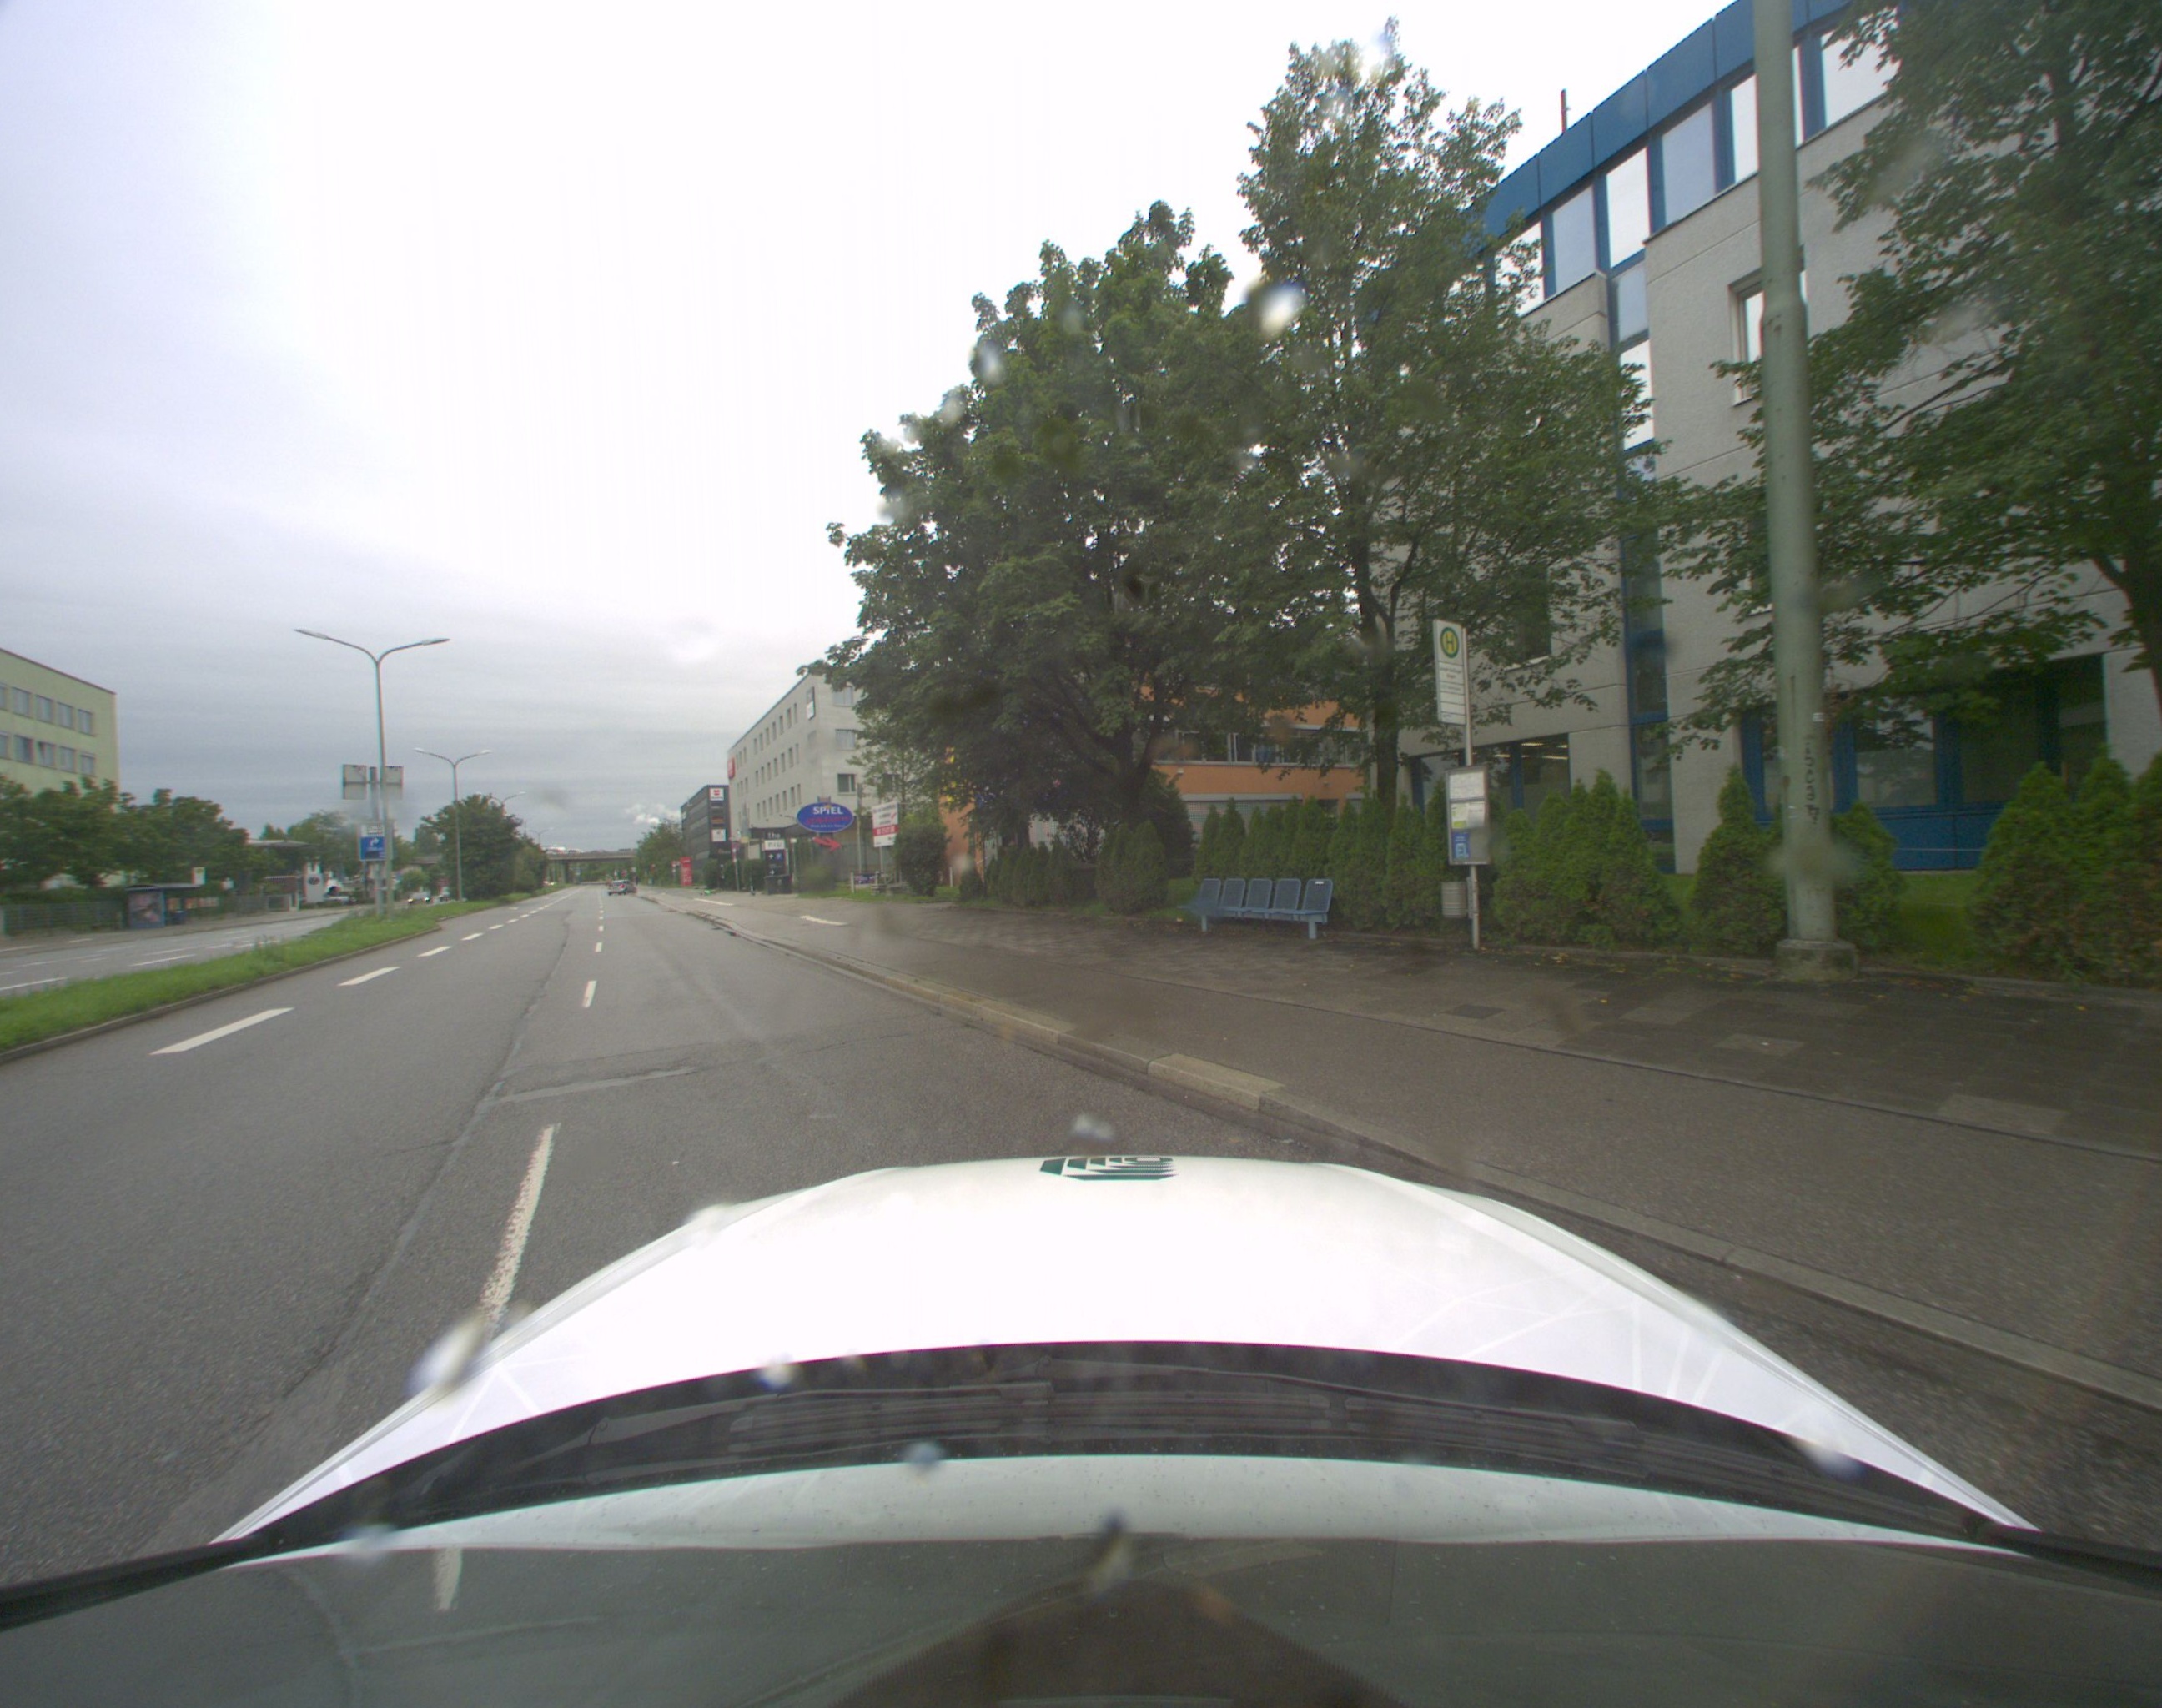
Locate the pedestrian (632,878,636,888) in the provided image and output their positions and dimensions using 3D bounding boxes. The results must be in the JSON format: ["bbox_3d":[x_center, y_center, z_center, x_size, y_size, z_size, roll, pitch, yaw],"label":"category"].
[{"bbox_3d":[-88.984,5.809,162.115,0.693,1.876,0.655,-4,1,-32],"label":"pedestrian"}]

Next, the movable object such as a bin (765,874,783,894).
[{"bbox_3d":[-16.958,1.659,45.012,0.742,1.078,0.649,-4,1,-31],"label":"movable object such as a bin"}]

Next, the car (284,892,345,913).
[{"bbox_3d":[-87.583,5.533,93.117,1.777,1.842,4.677,-4,1,36],"label":"car"}]

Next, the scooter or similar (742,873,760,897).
[{"bbox_3d":[-18.772,1.762,46.378,0.589,1.277,1.390,-9,3,-31],"label":"scooter or similar"}]

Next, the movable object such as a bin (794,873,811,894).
[{"bbox_3d":[-15.524,1.628,45.369,0.742,1.078,0.649,-4,1,-31],"label":"movable object such as a bin"}]

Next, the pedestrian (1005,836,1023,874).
[{"bbox_3d":[-3.169,0.056,38.369,0.659,1.712,0.660,-4,0,-13],"label":"pedestrian"}]

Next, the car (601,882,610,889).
[{"bbox_3d":[-114.150,7.505,195.599,1.747,1.548,4.261,-2,-1,-31],"label":"car"}]

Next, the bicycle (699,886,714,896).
[{"bbox_3d":[-25.329,2.505,55.056,0.725,0.548,1.715,-7,2,-31],"label":"bicycle"}]

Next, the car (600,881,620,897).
[{"bbox_3d":[-51.329,3.777,88.810,1.826,1.557,3.988,-2,-1,-30],"label":"car"}]

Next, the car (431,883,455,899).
[{"bbox_3d":[-86.274,5.011,110.121,2.008,1.960,4.280,-5,1,-32],"label":"car"}]

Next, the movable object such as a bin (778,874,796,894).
[{"bbox_3d":[-16.160,1.640,44.700,0.742,1.078,0.649,-4,1,-31],"label":"movable object such as a bin"}]
